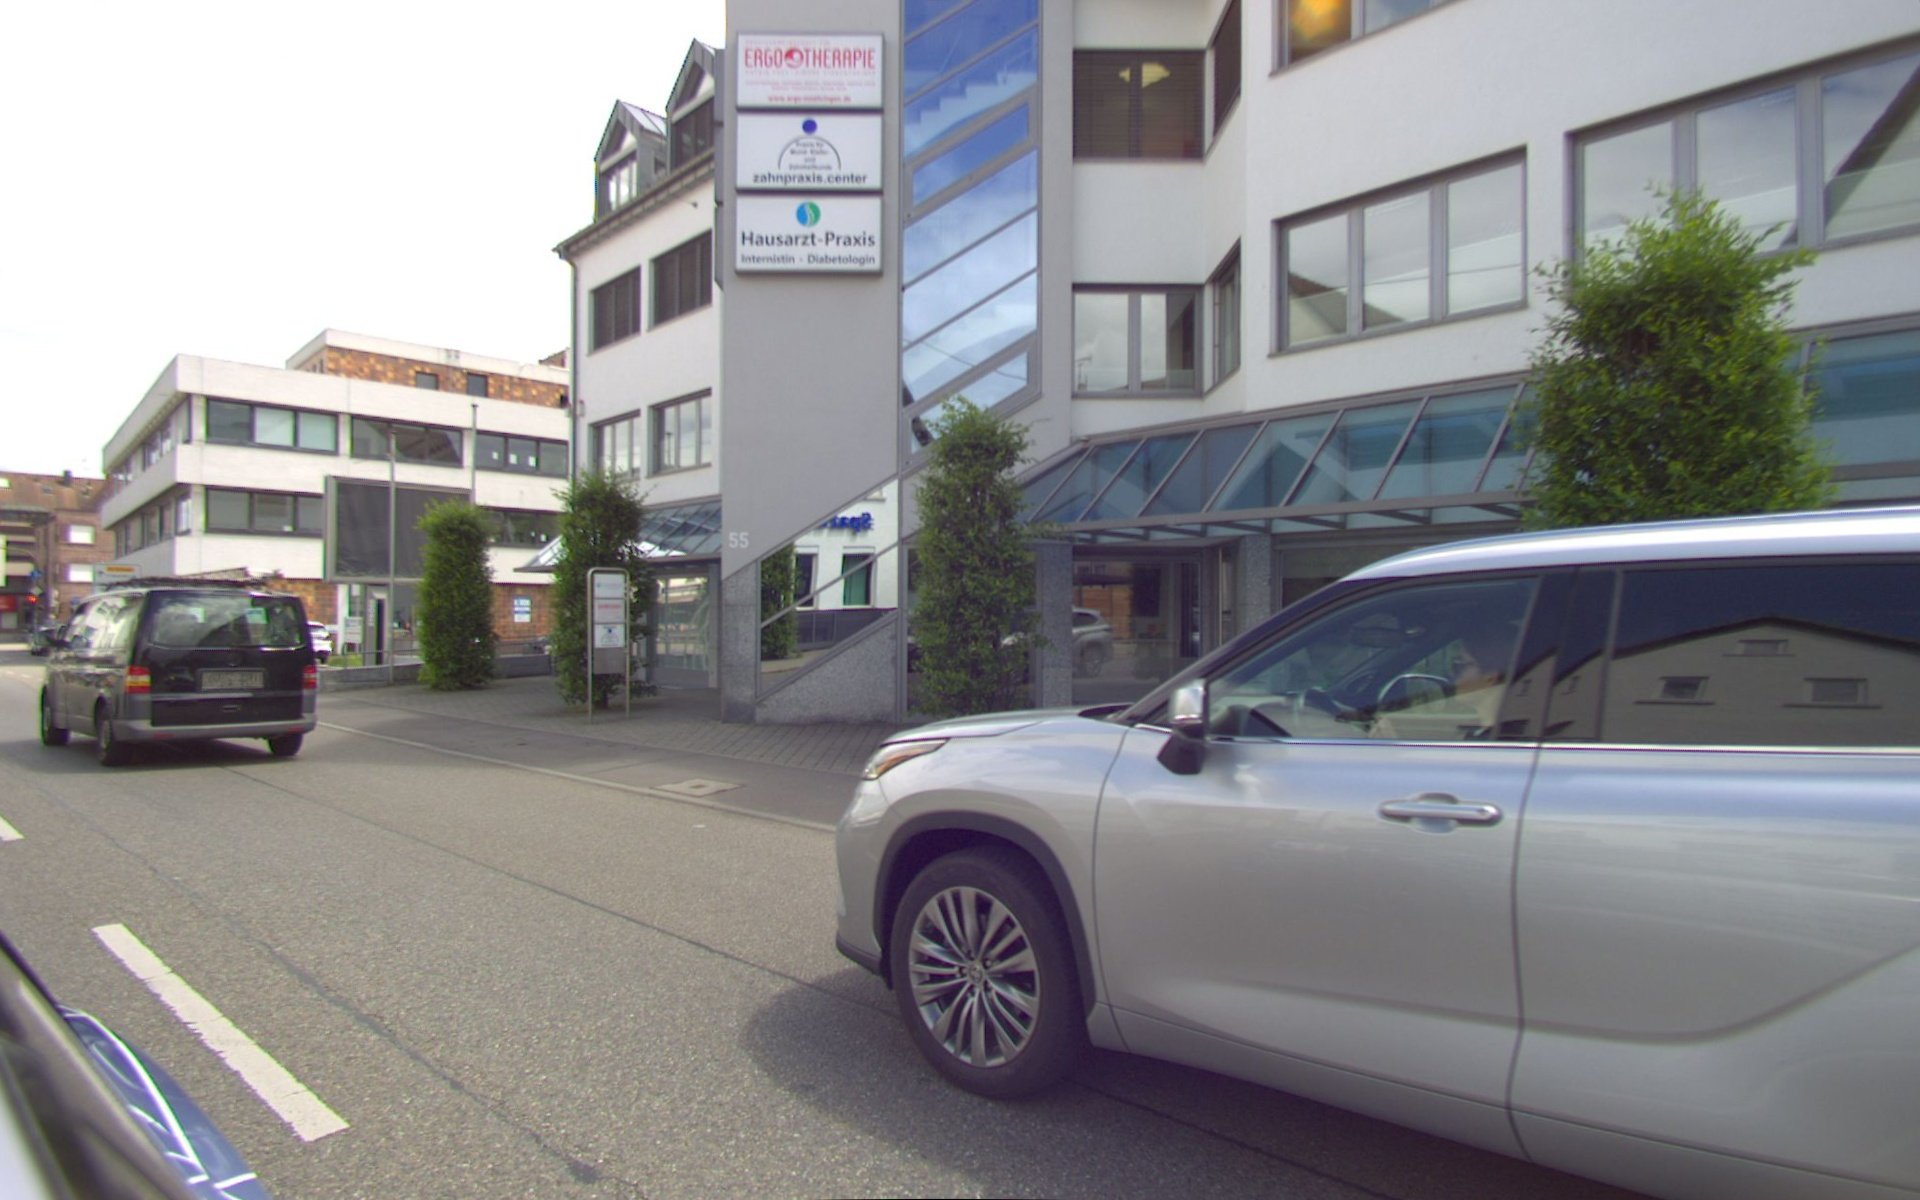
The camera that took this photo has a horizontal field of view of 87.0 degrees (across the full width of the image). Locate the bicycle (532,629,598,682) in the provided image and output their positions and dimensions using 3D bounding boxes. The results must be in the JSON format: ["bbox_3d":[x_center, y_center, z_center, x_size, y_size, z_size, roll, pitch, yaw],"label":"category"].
[{"bbox_3d":[-9.179,1.267,23.488,1.684,1.150,0.636,-1,0,37],"label":"bicycle"}]

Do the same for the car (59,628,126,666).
[{"bbox_3d":[-36.510,1.944,42.559,4.220,1.437,1.815,-1,0,44],"label":"car"}]

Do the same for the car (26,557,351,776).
[{"bbox_3d":[-9.561,0.735,12.393,4.878,2.168,2.090,-2,-3,40],"label":"car"}]

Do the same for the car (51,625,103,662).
[{"bbox_3d":[-41.345,2.002,47.383,1.783,1.541,4.005,0,0,-42],"label":"car"}]

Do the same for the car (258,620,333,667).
[{"bbox_3d":[-26.163,1.698,39.804,1.870,1.710,3.805,4,-3,-42],"label":"car"}]

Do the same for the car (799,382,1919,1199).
[{"bbox_3d":[1.878,0.560,2.794,4.794,1.751,1.965,-1,-4,42],"label":"car"}]

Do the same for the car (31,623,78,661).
[{"bbox_3d":[-45.272,2.055,50.594,1.677,1.790,4.466,0,0,-42],"label":"car"}]
